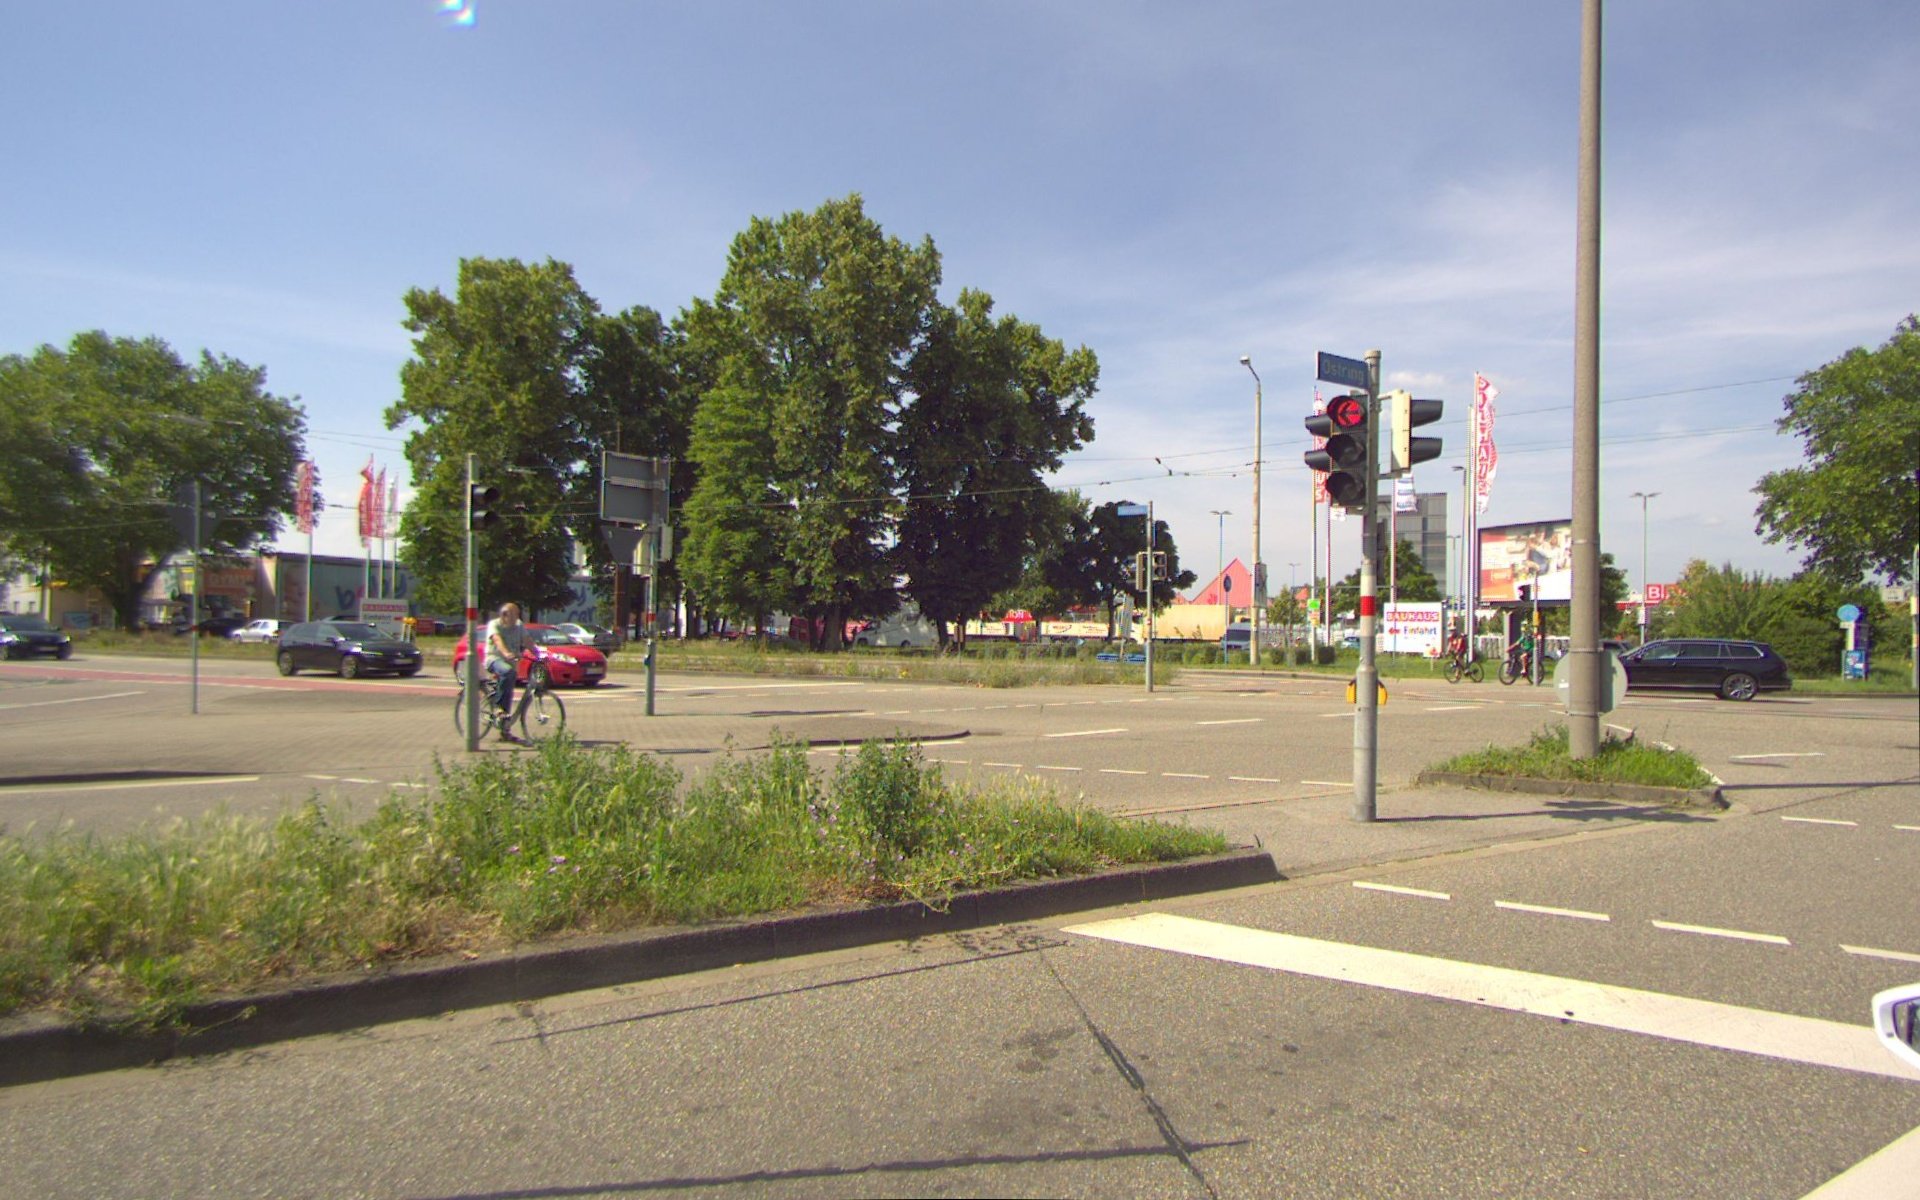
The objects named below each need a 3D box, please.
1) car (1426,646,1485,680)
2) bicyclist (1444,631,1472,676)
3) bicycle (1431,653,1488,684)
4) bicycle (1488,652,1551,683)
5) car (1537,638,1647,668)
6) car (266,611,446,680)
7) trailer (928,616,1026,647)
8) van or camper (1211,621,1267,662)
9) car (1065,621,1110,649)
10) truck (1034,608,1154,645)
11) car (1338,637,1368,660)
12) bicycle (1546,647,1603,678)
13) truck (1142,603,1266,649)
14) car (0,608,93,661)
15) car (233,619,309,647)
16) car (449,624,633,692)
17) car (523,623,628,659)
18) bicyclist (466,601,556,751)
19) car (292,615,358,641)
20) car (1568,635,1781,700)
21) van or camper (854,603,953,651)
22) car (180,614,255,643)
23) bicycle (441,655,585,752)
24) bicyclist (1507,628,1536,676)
[{"bbox_3d":[26.370,3.318,53.601,2.157,1.593,4.579,0,-2,17],"label":"car"},{"bbox_3d":[15.977,1.714,32.247,0.598,1.432,0.529,1,-1,-7],"label":"bicyclist"},{"bbox_3d":[16.010,2.182,32.199,1.719,0.950,0.434,1,-1,-8],"label":"bicycle"},{"bbox_3d":[17.657,2.131,31.682,1.963,0.950,0.416,1,-1,-14],"label":"bicycle"},{"bbox_3d":[33.646,2.817,53.590,2.180,1.432,4.529,2,-2,-37],"label":"car"},{"bbox_3d":[-16.069,1.188,26.795,3.920,1.721,2.001,0,-2,18],"label":"car"},{"bbox_3d":[1.461,2.744,87.457,8.057,2.523,2.924,0,-2,26],"label":"trailer"},{"bbox_3d":[16.191,2.395,58.164,2.155,2.239,5.513,0,-2,26],"label":"van or camper"},{"bbox_3d":[12.547,3.424,98.436,2.344,2.562,6.118,0,-2,28],"label":"car"},{"bbox_3d":[11.067,2.145,83.077,9.431,2.930,2.925,0,-2,24],"label":"truck"},{"bbox_3d":[27.918,3.421,71.330,1.787,1.593,4.277,0,-2,24],"label":"car"},{"bbox_3d":[21.583,2.201,35.269,1.864,1.051,0.594,1,-1,-16],"label":"bicycle"},{"bbox_3d":[18.479,1.930,76.195,8.753,3.355,3.159,0,-2,23],"label":"truck"},{"bbox_3d":[-32.041,1.160,34.275,3.921,1.721,2.000,0,-2,19],"label":"car"},{"bbox_3d":[-37.000,1.768,53.912,3.788,1.446,1.698,0,-2,26],"label":"car"},{"bbox_3d":[-9.939,1.322,23.811,3.924,1.468,1.846,0,-2,25],"label":"car"},{"bbox_3d":[-16.356,1.700,42.685,4.380,1.430,1.637,0,-2,28],"label":"car"},{"bbox_3d":[-5.633,0.931,12.619,0.754,1.812,0.704,0,-1,31],"label":"bicyclist"},{"bbox_3d":[-50.075,2.224,79.268,1.971,2.040,3.979,0,-2,41],"label":"car"},{"bbox_3d":[17.841,1.640,25.344,4.145,1.462,1.787,0,-2,28],"label":"car"},{"bbox_3d":[-3.886,1.836,68.782,6.207,3.141,2.709,1,-1,26],"label":"van or camper"},{"bbox_3d":[-53.117,2.043,71.878,1.971,2.040,3.980,0,-2,41],"label":"car"},{"bbox_3d":[-5.637,1.268,12.623,2.128,1.078,0.524,0,-2,31],"label":"bicycle"},{"bbox_3d":[17.711,1.637,31.701,0.599,1.511,0.528,1,-1,-15],"label":"bicyclist"}]
